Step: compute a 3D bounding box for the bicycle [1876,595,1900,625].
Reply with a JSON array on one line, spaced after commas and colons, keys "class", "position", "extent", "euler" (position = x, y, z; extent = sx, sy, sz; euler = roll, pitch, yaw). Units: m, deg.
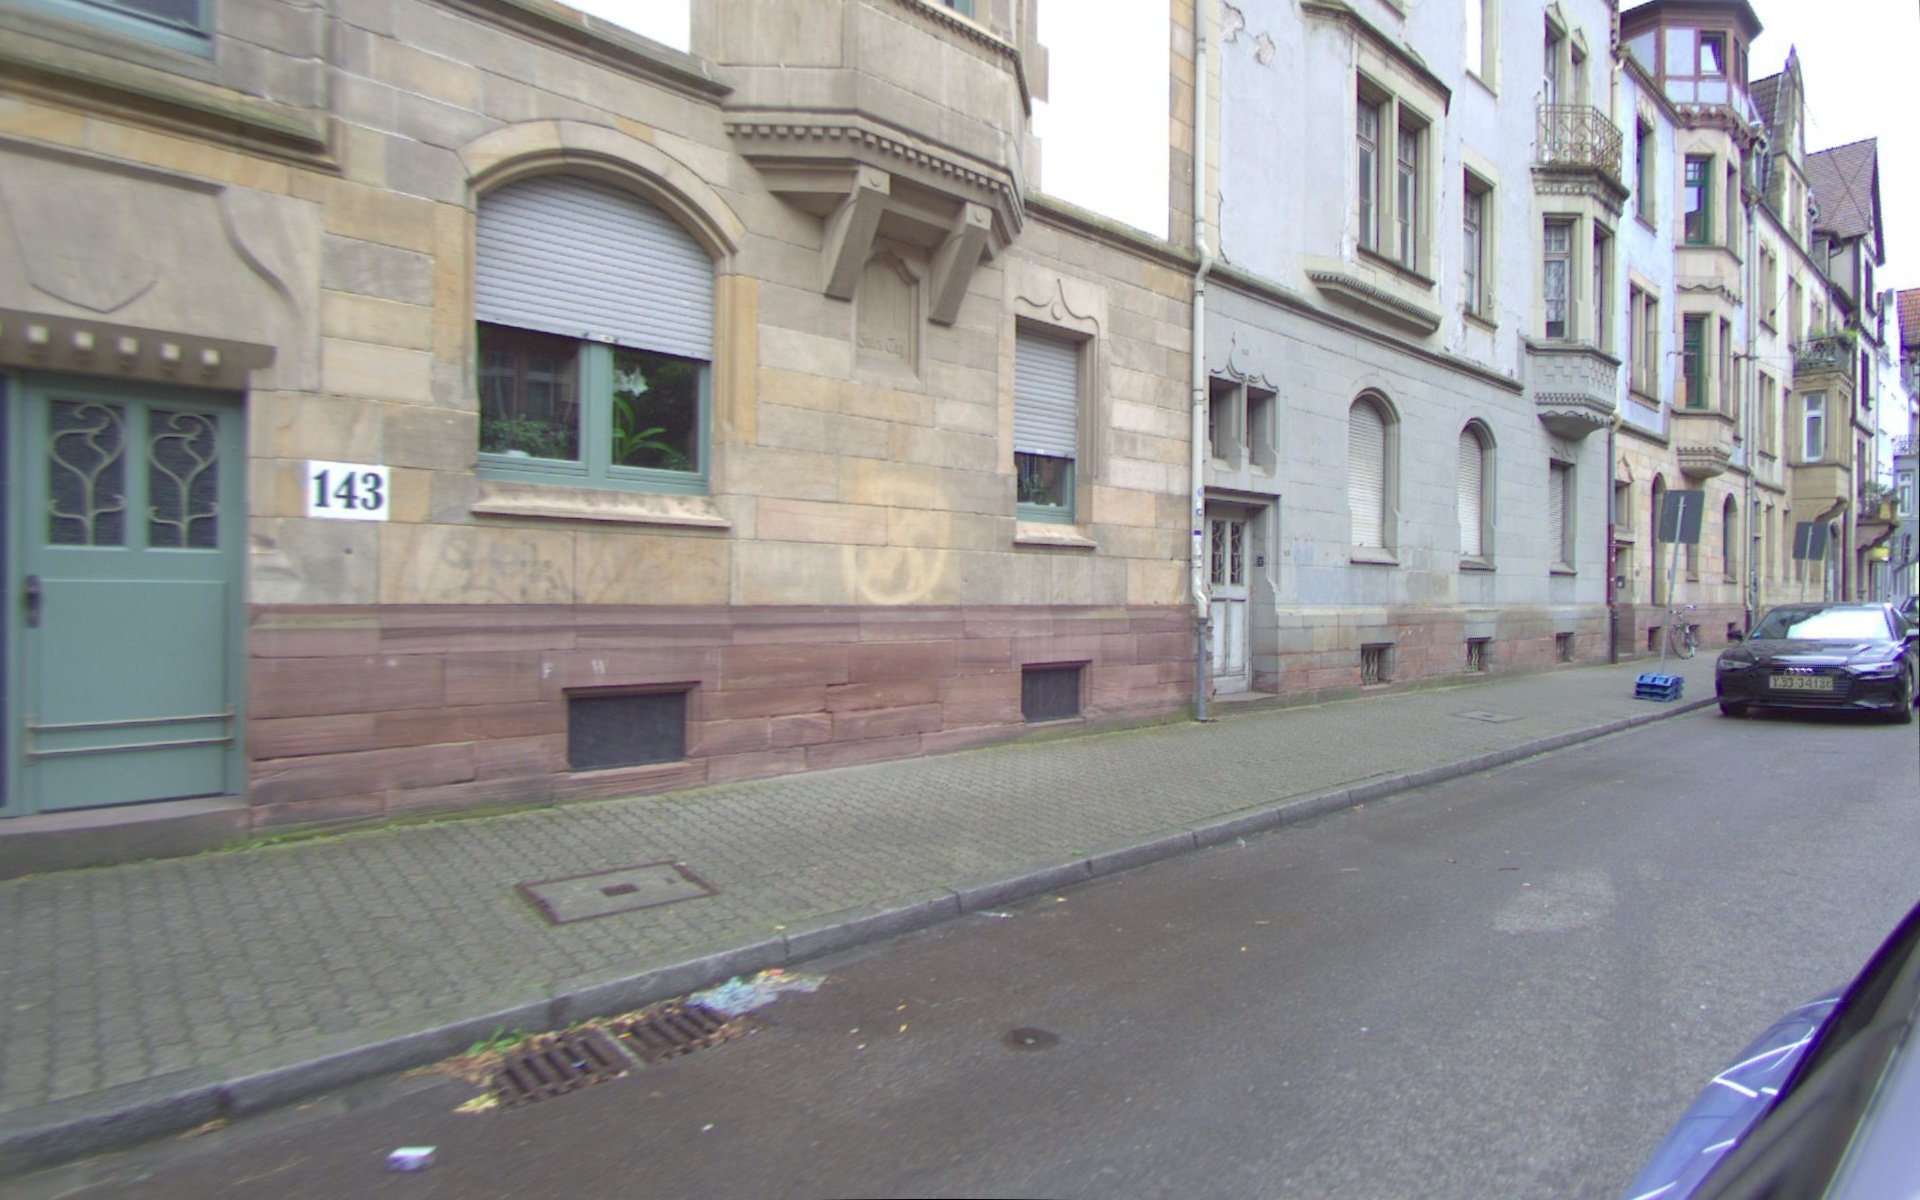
[{"class": "bicycle", "position": [36.028, 0.396, 39.289], "extent": [1.560, 1.111, 0.422], "euler": [0, 5, -41]}]

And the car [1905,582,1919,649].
[{"class": "car", "position": [25.782, 0.382, 26.076], "extent": [4.615, 1.643, 1.761], "euler": [0, 0, -43]}]

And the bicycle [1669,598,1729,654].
[{"class": "bicycle", "position": [15.941, 0.550, 21.818], "extent": [1.883, 1.141, 0.611], "euler": [0, -3, -42]}]

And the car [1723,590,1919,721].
[{"class": "car", "position": [11.999, 0.606, 13.620], "extent": [5.106, 1.456, 1.803], "euler": [0, 0, -42]}]
